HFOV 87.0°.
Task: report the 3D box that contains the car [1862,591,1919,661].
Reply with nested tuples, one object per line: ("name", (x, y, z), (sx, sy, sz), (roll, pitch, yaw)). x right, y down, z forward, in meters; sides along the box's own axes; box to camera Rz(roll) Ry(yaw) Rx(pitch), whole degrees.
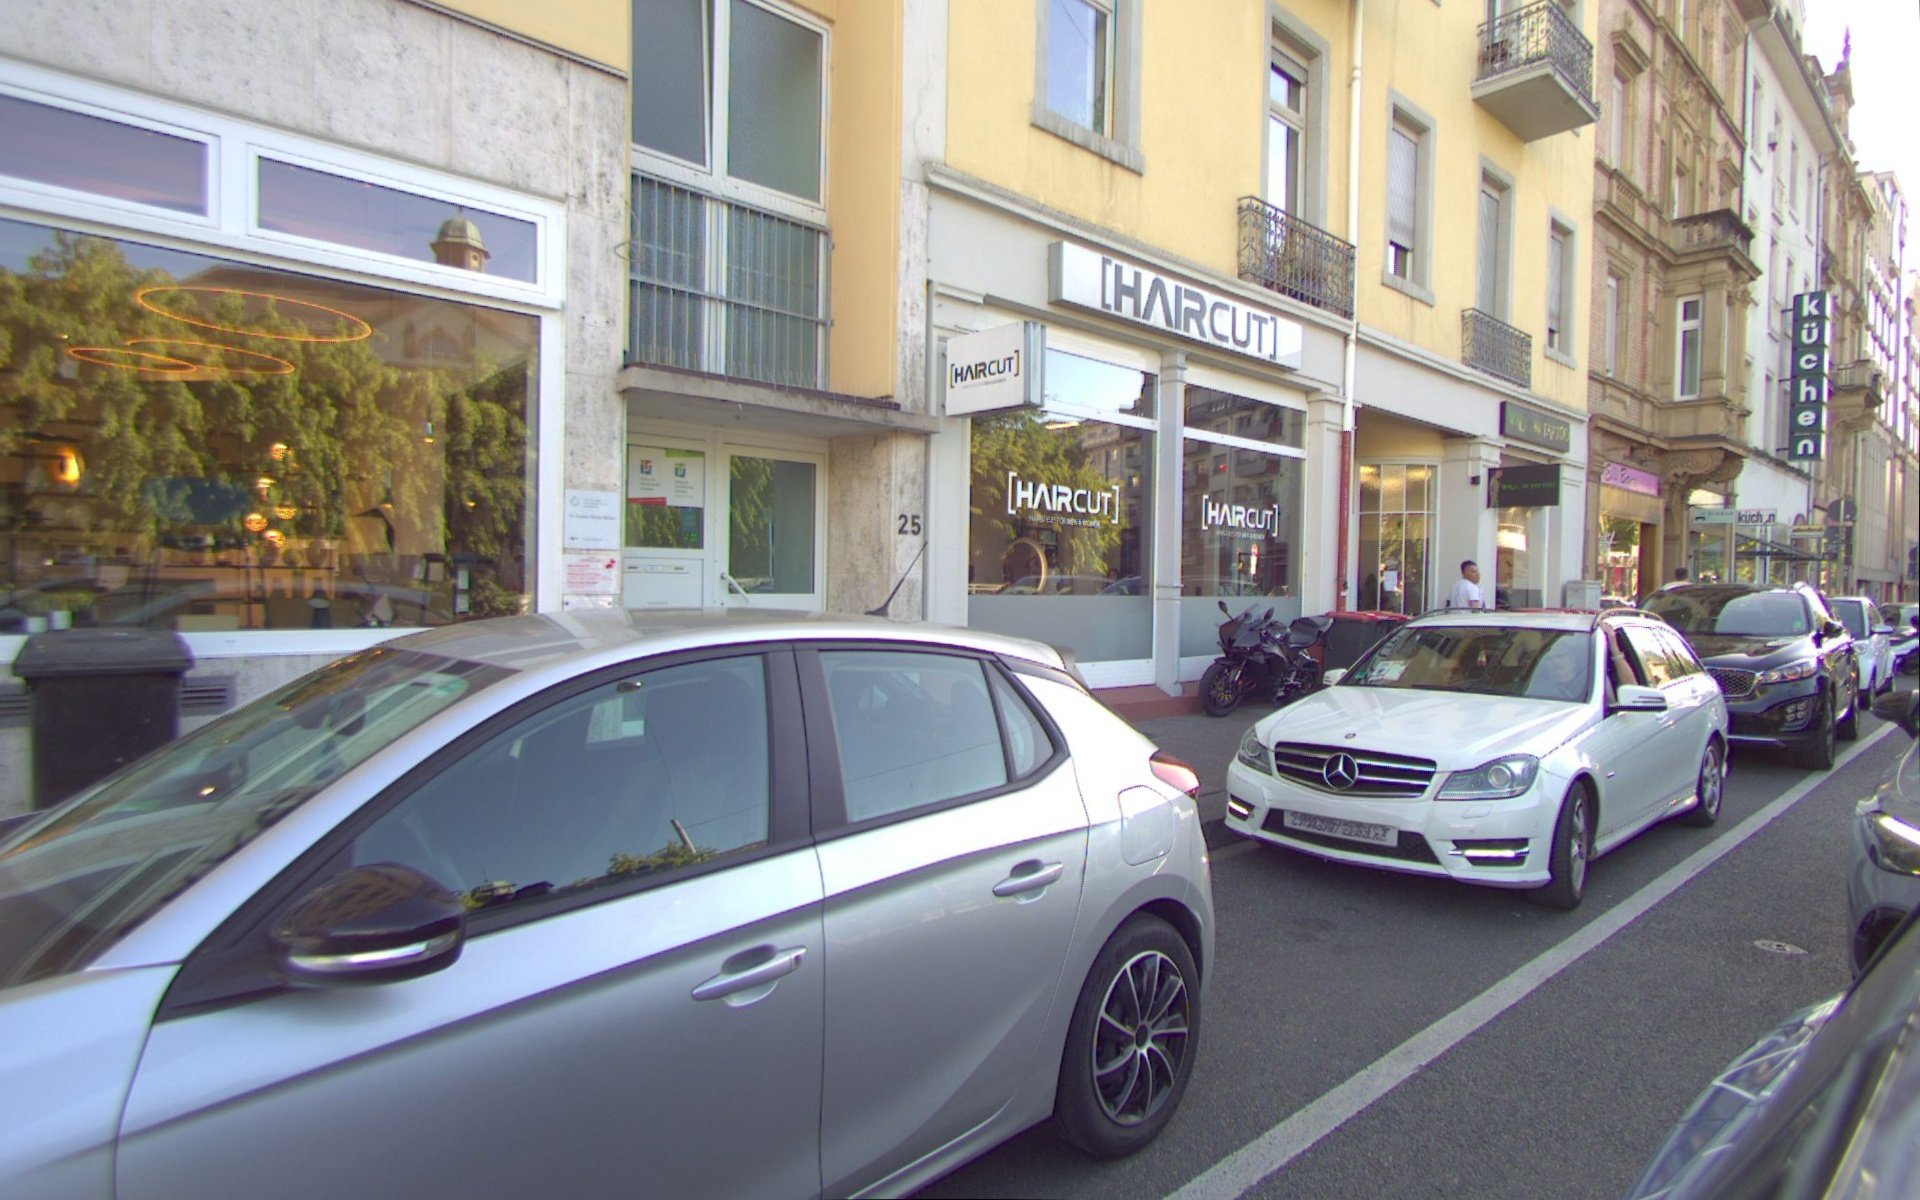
("car", (22.098, 0.552, 23.178), (3.931, 1.504, 1.713), (0, 1, -42))

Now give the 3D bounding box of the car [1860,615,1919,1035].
("car", (5.328, 0.783, 4.287), (4.183, 1.396, 1.846), (0, 1, -42))

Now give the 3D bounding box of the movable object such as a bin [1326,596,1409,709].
("movable object such as a bin", (4.626, 0.569, 11.497), (0.633, 1.222, 0.647), (0, 0, -40))

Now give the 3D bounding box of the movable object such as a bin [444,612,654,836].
("movable object such as a bin", (-2.257, 0.617, 5.553), (0.878, 1.066, 0.752), (0, 1, -40))

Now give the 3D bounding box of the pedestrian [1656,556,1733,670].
("pedestrian", (10.966, 0.182, 15.119), (0.750, 1.637, 0.794), (0, 1, -43))

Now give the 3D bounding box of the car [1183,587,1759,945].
("car", (3.480, 0.675, 6.408), (4.519, 1.480, 1.757), (0, 1, -42))

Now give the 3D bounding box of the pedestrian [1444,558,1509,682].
("pedestrian", (7.023, 0.262, 13.767), (0.631, 1.637, 0.572), (0, 0, -40))

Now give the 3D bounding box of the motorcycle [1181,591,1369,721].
("motorcycle", (3.311, 0.519, 10.524), (2.208, 1.179, 0.773), (0, 4, -41))

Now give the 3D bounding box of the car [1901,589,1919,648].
("car", (26.391, 0.477, 26.859), (3.931, 1.504, 1.713), (0, 1, -42))

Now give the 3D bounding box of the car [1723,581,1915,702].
("car", (12.678, 0.525, 14.900), (2.965, 1.587, 1.695), (0, 1, -40))

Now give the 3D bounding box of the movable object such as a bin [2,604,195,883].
("movable object such as a bin", (-3.710, 0.553, 4.384), (0.591, 1.041, 0.812), (0, 1, -40))

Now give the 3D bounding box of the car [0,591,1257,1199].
("car", (-1.041, 0.698, 2.316), (3.642, 1.415, 1.652), (0, 1, -42))

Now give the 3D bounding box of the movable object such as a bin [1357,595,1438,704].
("movable object such as a bin", (5.137, 0.562, 11.887), (0.633, 1.222, 0.647), (0, 0, -40))

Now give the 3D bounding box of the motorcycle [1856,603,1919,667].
("motorcycle", (19.278, 0.704, 20.516), (1.514, 1.248, 0.771), (1, 0, 1))

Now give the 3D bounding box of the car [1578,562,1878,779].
("car", (7.995, 0.531, 10.345), (1.853, 1.719, 4.623), (1, 1, 45))

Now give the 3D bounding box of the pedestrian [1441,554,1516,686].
("pedestrian", (6.662, 0.244, 12.998), (0.689, 1.637, 0.641), (0, 0, -42))
